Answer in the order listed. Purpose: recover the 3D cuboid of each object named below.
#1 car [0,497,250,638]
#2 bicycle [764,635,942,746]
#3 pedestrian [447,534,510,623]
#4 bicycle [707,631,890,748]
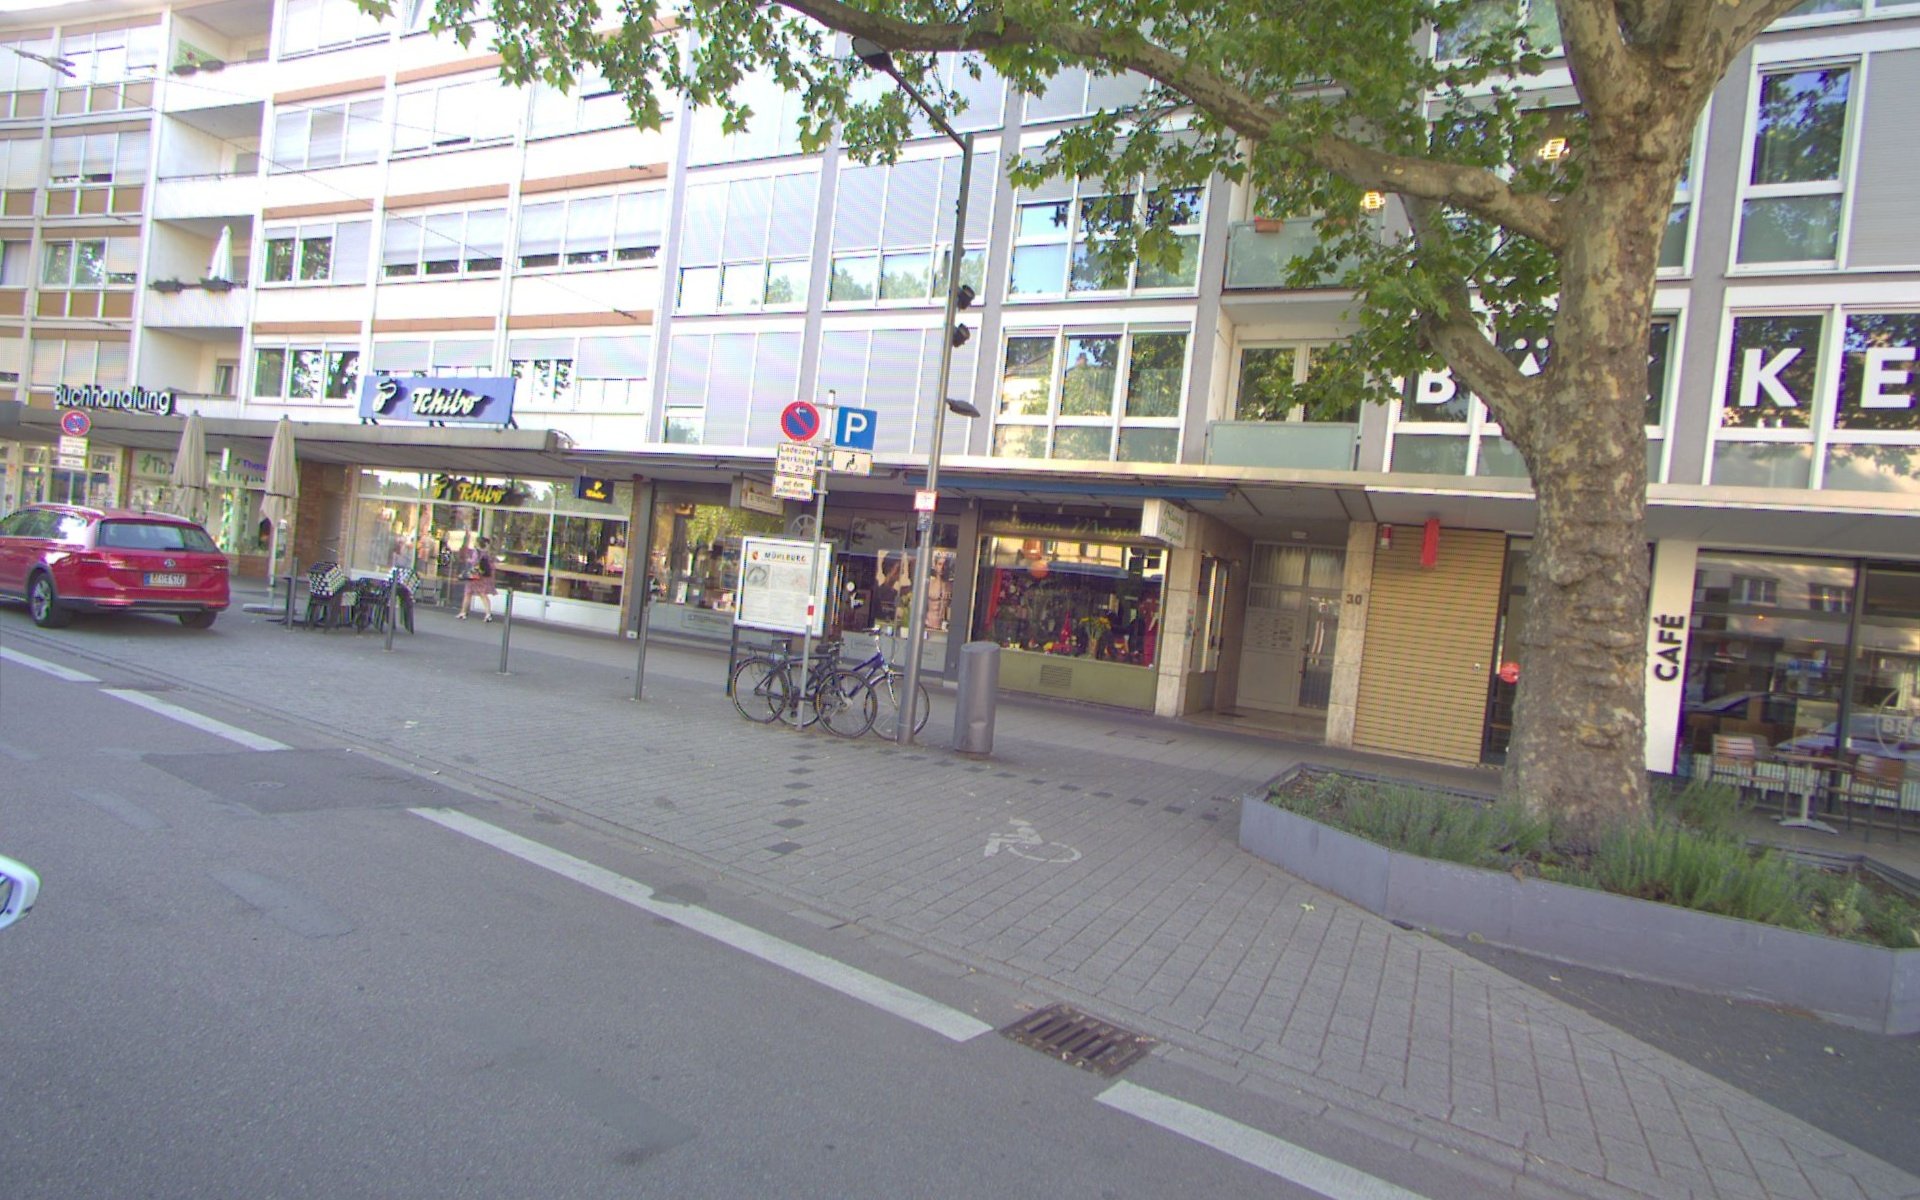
[{"bbox_3d":[-11.656,-0.493,13.444,4.229,1.502,1.772,6,1,28],"label":"car"},{"bbox_3d":[-1.123,0.932,10.563,1.743,0.931,0.391,6,2,12],"label":"bicycle"},{"bbox_3d":[-9.255,-0.401,19.336,0.776,1.613,0.651,7,3,26],"label":"pedestrian"},{"bbox_3d":[-1.644,0.889,10.244,1.743,0.951,0.391,6,2,12],"label":"bicycle"}]
